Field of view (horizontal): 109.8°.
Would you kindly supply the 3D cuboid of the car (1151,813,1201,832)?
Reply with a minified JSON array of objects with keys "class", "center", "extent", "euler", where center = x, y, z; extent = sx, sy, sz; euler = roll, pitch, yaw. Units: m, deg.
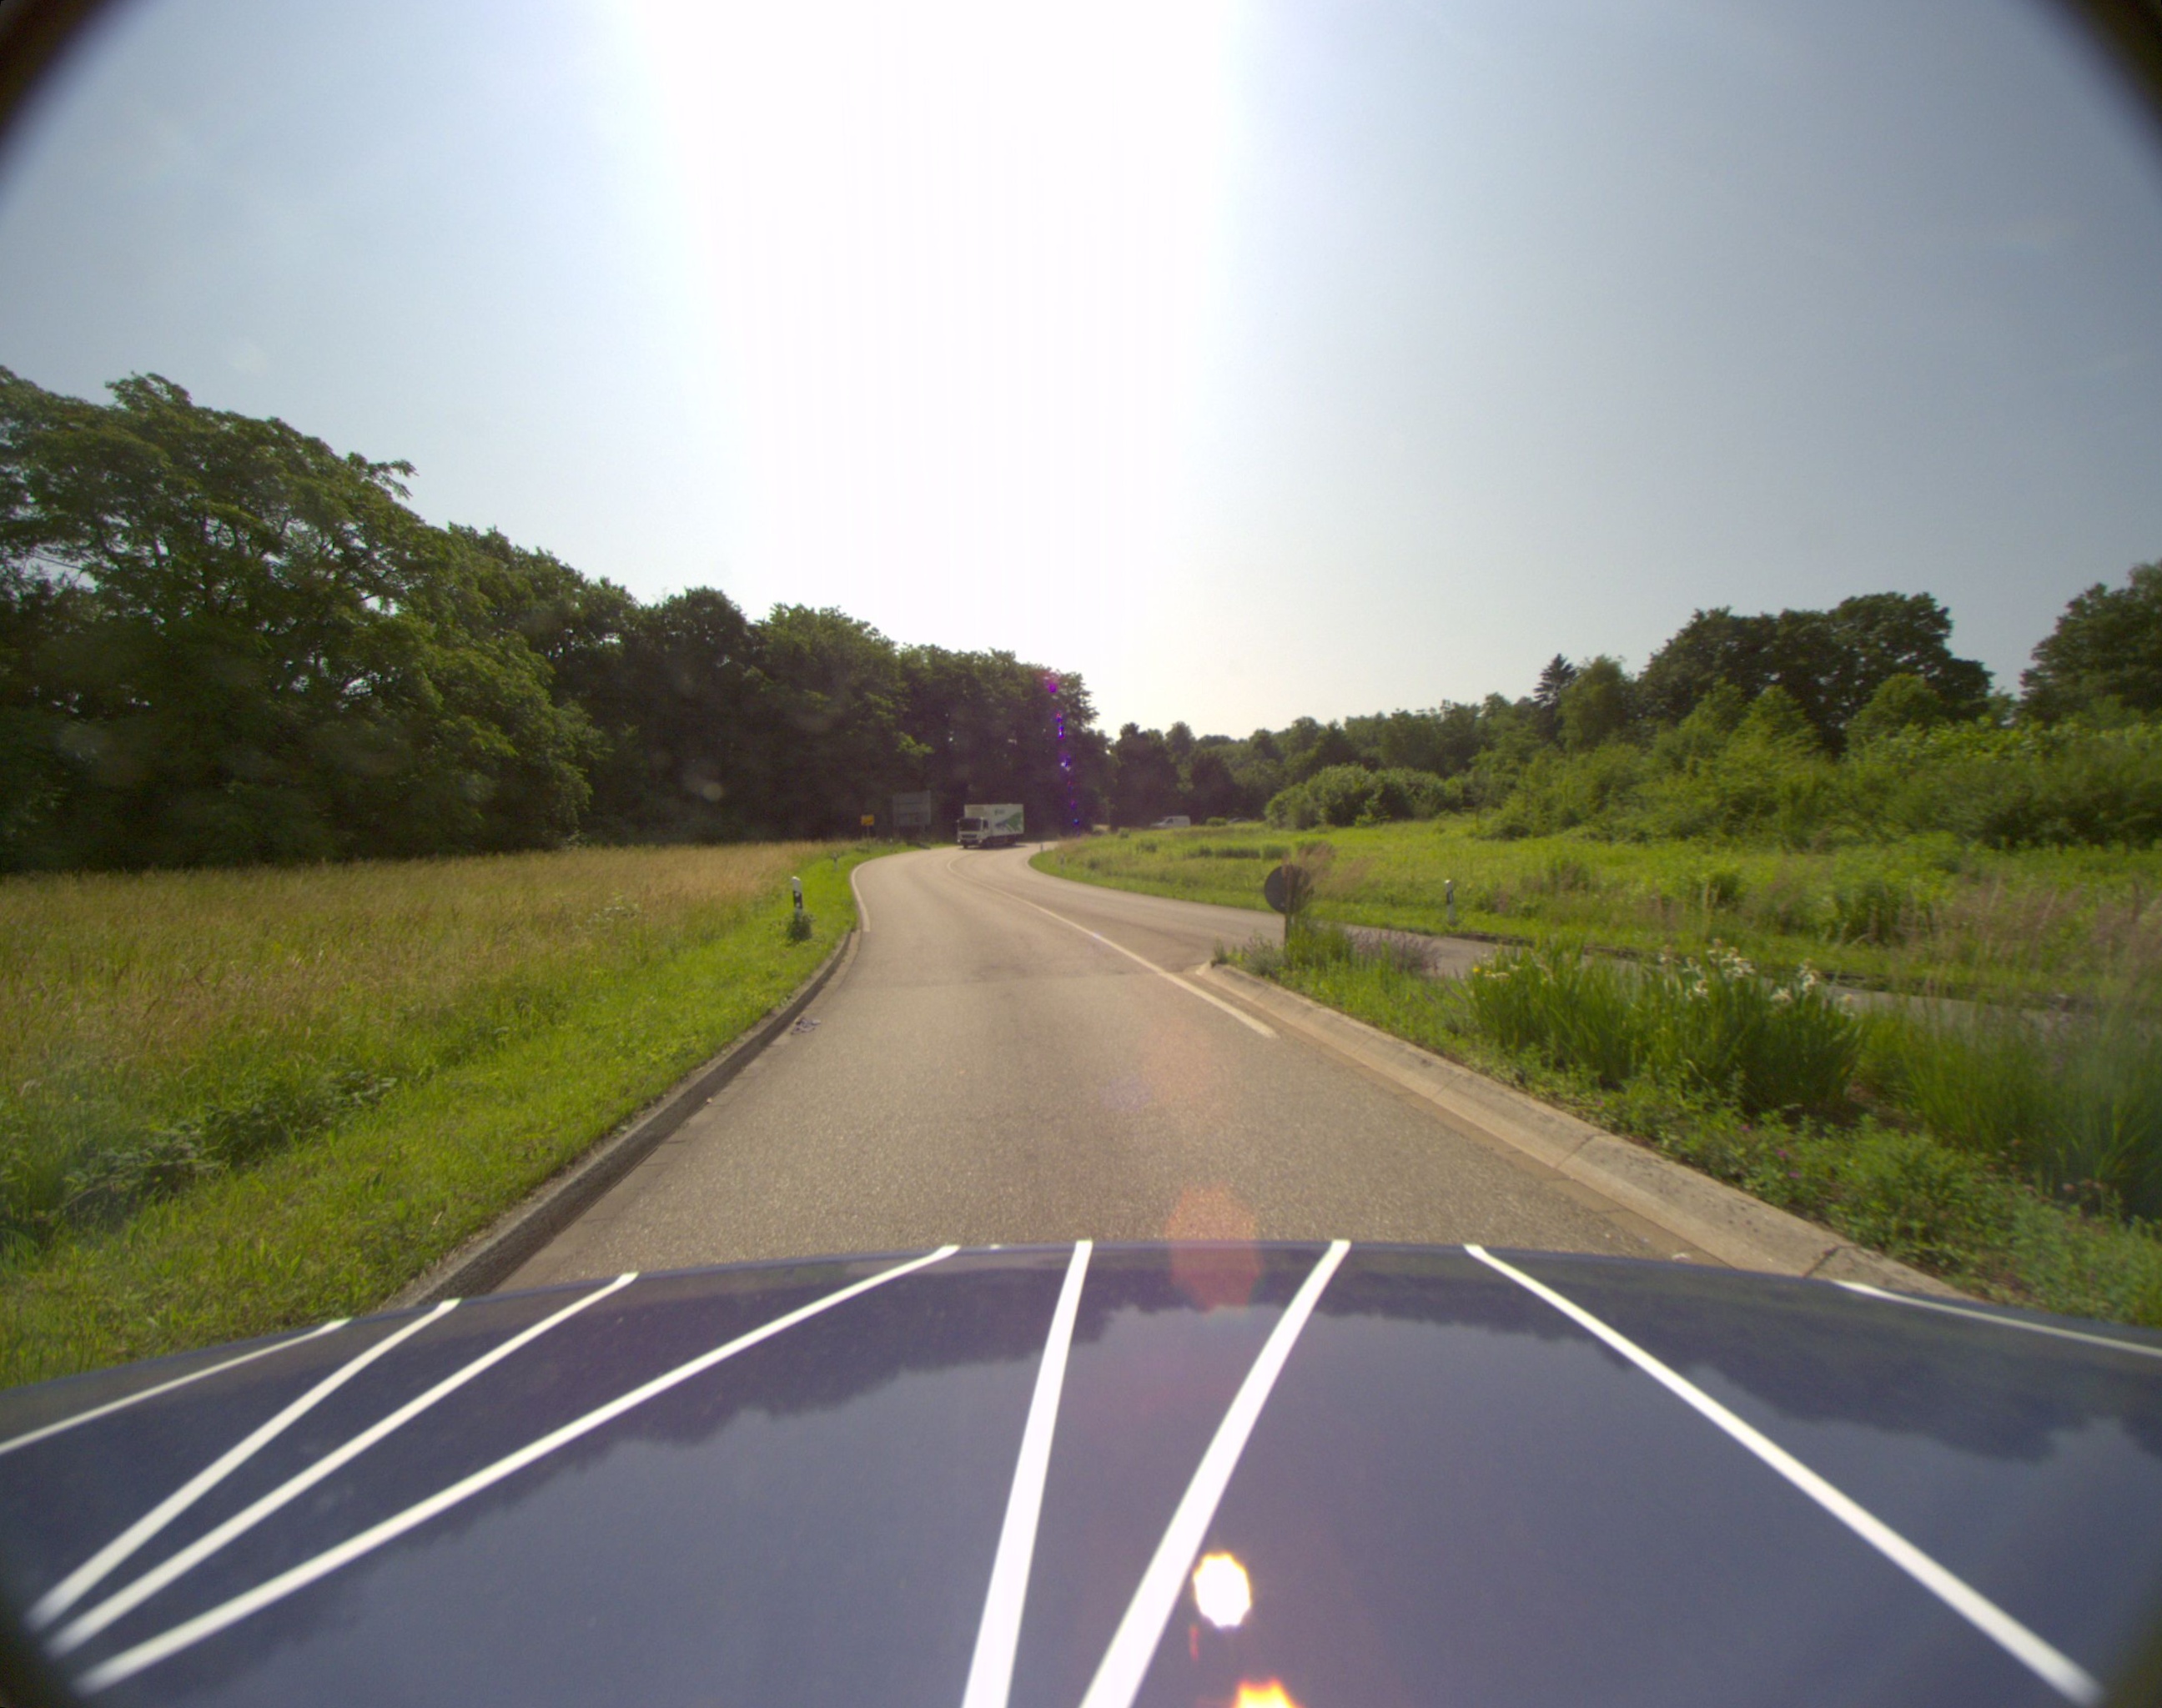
[{"class":"car","center":[11.106,-3.724,88.845],"extent":[5.610,2.002,1.995],"euler":[-3,1,-28]}]

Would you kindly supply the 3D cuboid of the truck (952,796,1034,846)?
[{"class":"truck","center":[-7.332,-2.755,65.057],"extent":[2.894,3.807,9.035],"euler":[-2,1,22]}]
